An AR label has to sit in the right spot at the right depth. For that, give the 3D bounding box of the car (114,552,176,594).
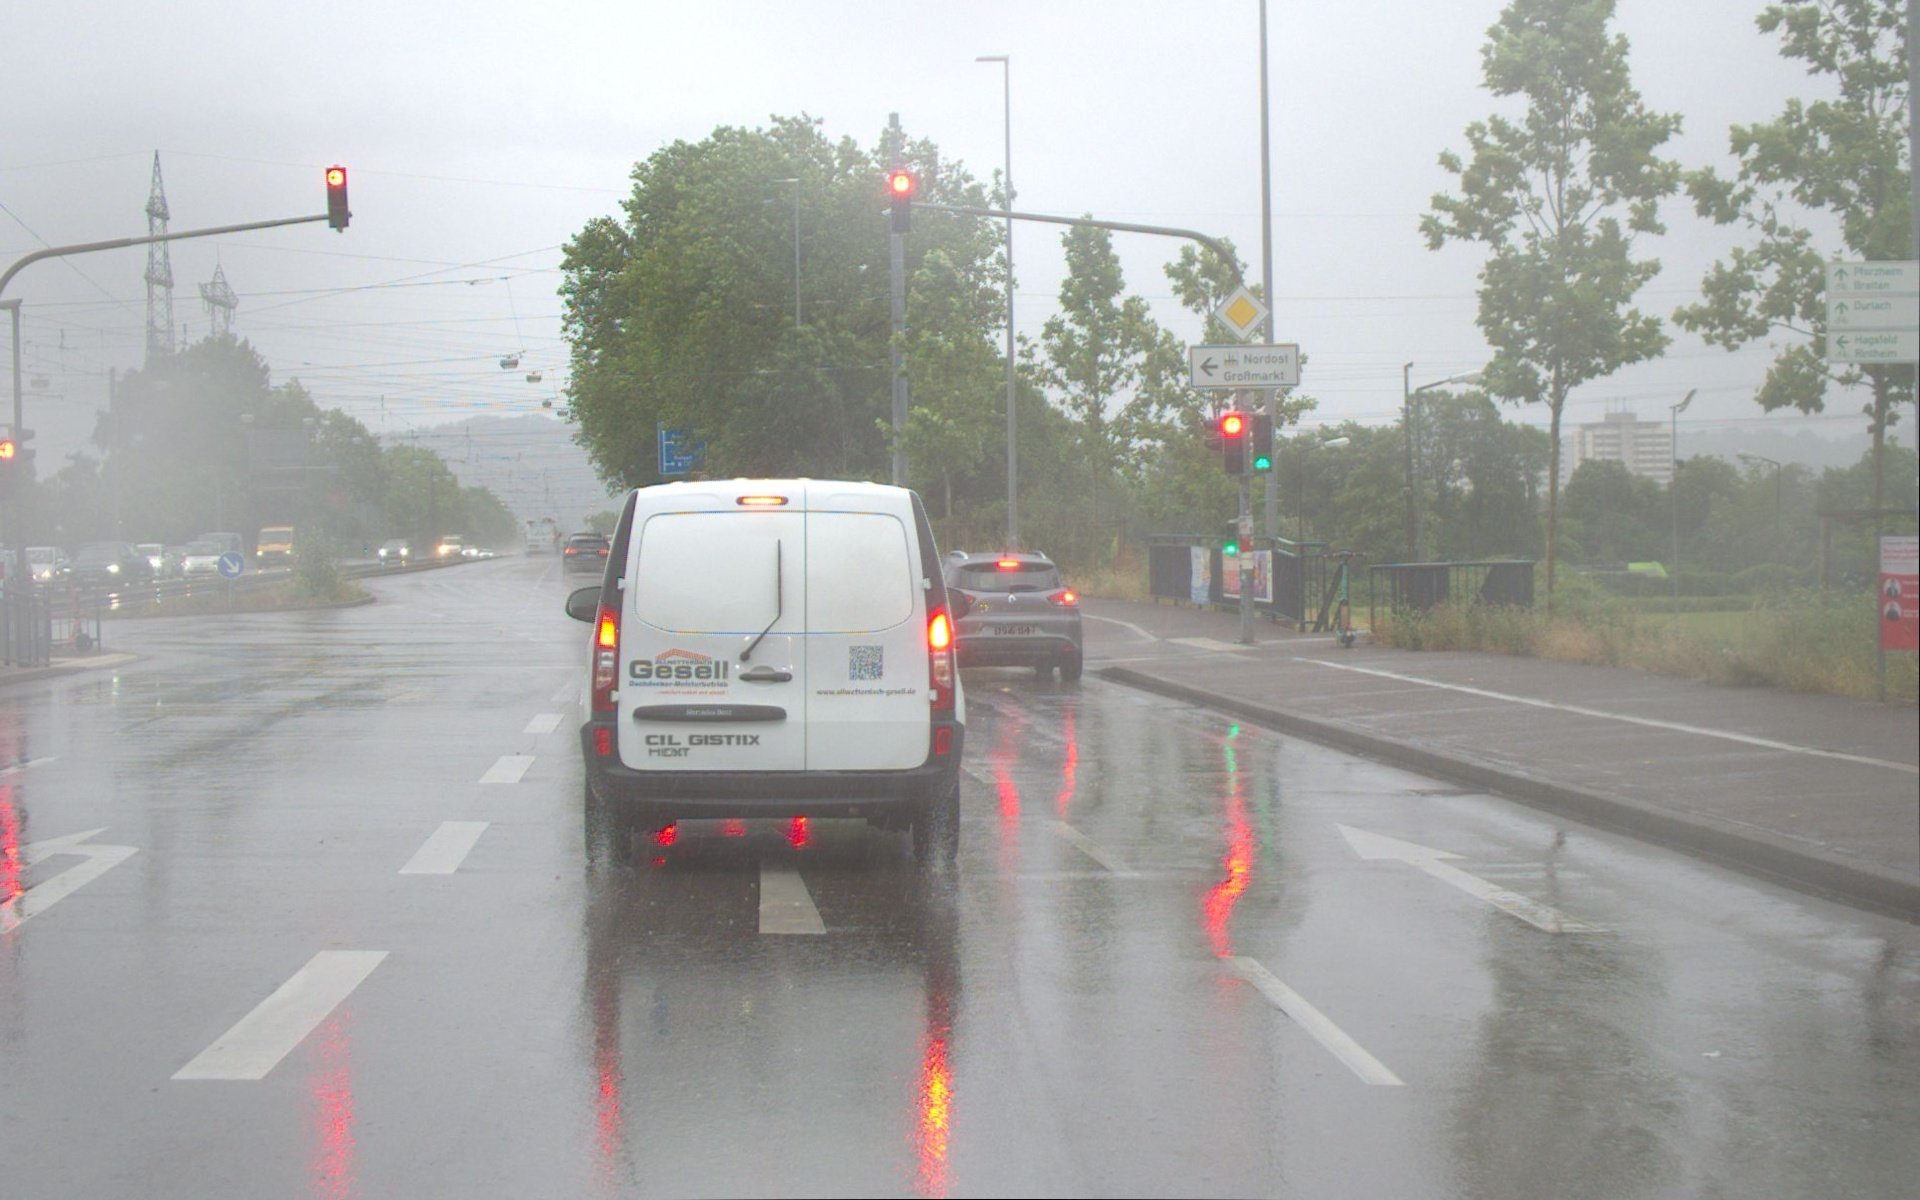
[{"bbox_3d":[-29.535,-0.975,124.638,1.559,1.421,3.569,2,0,-4],"label":"car"}]

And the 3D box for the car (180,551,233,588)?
[{"bbox_3d":[-31.102,-1.238,141.979,1.559,1.421,3.569,2,0,-4],"label":"car"}]

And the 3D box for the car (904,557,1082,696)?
[{"bbox_3d":[0.328,0.278,39.602,1.684,1.503,3.921,1,0,-5],"label":"car"}]

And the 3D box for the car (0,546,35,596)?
[{"bbox_3d":[-28.143,-0.849,100.273,1.559,1.421,3.569,2,0,-4],"label":"car"}]

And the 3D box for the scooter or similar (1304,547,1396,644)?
[{"bbox_3d":[5.023,-0.080,44.451,0.690,1.207,3.020,-1,1,-3],"label":"scooter or similar"}]

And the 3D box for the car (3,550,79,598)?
[{"bbox_3d":[-28.519,-0.793,106.751,1.559,1.421,3.569,2,0,-4],"label":"car"}]

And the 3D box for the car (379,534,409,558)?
[{"bbox_3d":[-37.199,-3.536,226.018,1.559,1.421,3.569,2,0,-4],"label":"car"}]

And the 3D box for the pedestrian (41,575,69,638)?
[{"bbox_3d":[-12.937,0.094,49.155,0.315,0.894,0.380,1,1,-6],"label":"pedestrian"}]

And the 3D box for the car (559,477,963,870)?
[{"bbox_3d":[-1.123,0.274,17.403,1.754,1.744,4.170,0,1,-7],"label":"car"}]

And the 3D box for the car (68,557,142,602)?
[{"bbox_3d":[-28.355,-0.668,114.087,1.710,1.421,3.809,2,0,-4],"label":"car"}]
